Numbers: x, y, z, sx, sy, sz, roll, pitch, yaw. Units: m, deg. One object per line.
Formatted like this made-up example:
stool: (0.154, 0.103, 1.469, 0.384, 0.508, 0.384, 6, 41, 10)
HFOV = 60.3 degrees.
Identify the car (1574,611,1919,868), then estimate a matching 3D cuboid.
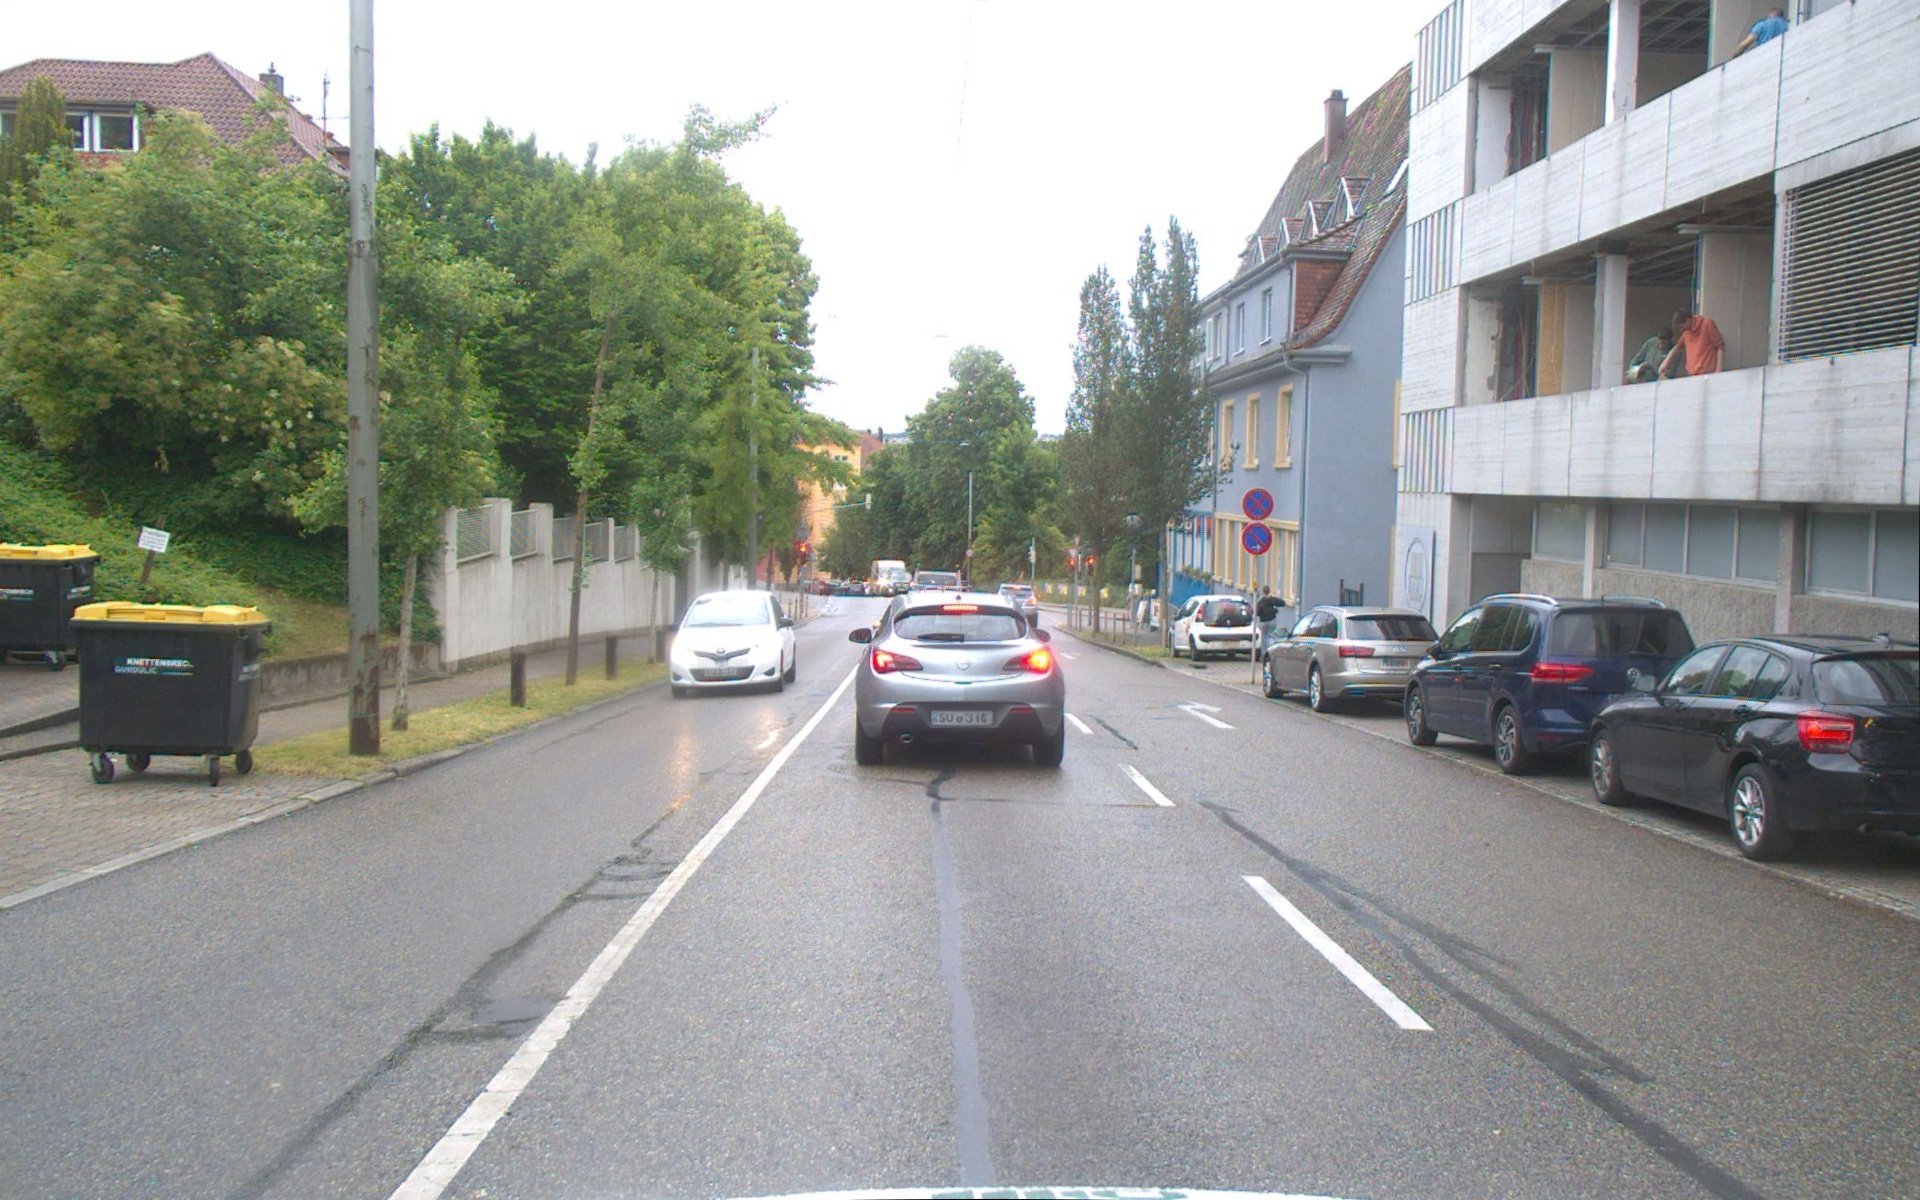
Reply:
car: (6.034, 0.845, 11.969, 1.712, 1.473, 4.252, 0, 0, 2)

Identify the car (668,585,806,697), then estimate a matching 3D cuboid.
car: (-3.416, 0.581, 25.936, 1.674, 1.558, 3.841, -2, 0, -1)

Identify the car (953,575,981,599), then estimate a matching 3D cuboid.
car: (0.509, -0.927, 119.210, 1.689, 1.666, 3.876, 0, 0, -4)

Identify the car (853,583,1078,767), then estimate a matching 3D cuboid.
car: (-0.044, 0.593, 15.246, 1.800, 1.459, 3.878, 1, 0, -3)

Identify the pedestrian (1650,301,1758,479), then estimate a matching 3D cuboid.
pedestrian: (9.075, -2.540, 20.201, 0.889, 2.049, 0.861, 1, -1, -1)

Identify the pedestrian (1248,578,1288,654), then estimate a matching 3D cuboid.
pedestrian: (7.323, 0.376, 39.338, 0.767, 1.759, 0.650, 2, 0, -1)

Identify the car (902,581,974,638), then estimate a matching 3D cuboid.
car: (-0.681, 0.232, 47.375, 1.922, 1.473, 4.304, 2, 1, -2)

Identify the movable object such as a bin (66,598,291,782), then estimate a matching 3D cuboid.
movable object such as a bin: (-6.025, 0.675, 12.843, 1.274, 1.329, 1.153, 1, 1, -9)

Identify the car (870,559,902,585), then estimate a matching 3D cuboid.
car: (-4.960, -1.858, 110.454, 1.691, 1.666, 3.871, 0, 0, -10)

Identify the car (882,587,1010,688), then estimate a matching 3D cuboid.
car: (-0.295, 0.555, 27.583, 1.922, 1.473, 4.304, 2, 1, -2)

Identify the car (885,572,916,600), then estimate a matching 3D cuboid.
car: (-3.700, -0.863, 102.840, 1.833, 1.666, 3.878, 0, 0, -2)

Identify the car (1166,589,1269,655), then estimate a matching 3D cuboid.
car: (6.029, 0.471, 39.093, 1.688, 1.473, 3.878, 0, 0, -2)

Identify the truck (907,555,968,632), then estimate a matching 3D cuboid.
truck: (-0.830, -0.250, 57.372, 1.922, 2.471, 4.934, 2, 1, -2)

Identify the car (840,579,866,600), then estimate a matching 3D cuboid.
car: (-9.032, -0.858, 139.447, 1.692, 1.666, 3.868, 2, 0, -12)

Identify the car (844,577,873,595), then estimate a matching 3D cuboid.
car: (-9.193, -1.252, 149.477, 1.696, 1.570, 3.859, 0, 0, -18)

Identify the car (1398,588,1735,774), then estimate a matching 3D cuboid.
car: (5.880, 0.697, 16.600, 1.694, 1.627, 4.159, 0, 0, -3)

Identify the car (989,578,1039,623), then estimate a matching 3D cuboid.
car: (2.115, 0.012, 65.456, 1.688, 1.744, 3.877, 0, 0, -3)

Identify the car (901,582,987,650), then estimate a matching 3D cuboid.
car: (-0.442, 0.342, 39.718, 1.922, 1.473, 4.304, 2, 1, -2)

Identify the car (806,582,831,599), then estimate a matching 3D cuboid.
car: (-14.404, -1.000, 168.149, 1.696, 1.666, 3.859, 0, 0, -18)

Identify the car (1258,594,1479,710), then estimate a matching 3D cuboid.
car: (5.836, 0.681, 24.208, 1.923, 1.473, 4.524, 1, 1, -3)

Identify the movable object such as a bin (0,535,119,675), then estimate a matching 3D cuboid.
movable object such as a bin: (-10.268, 0.036, 18.392, 1.274, 1.387, 1.226, 1, 6, -8)

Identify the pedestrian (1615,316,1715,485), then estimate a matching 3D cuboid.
pedestrian: (9.094, -2.554, 21.350, 0.889, 2.049, 0.861, 1, -1, -1)
